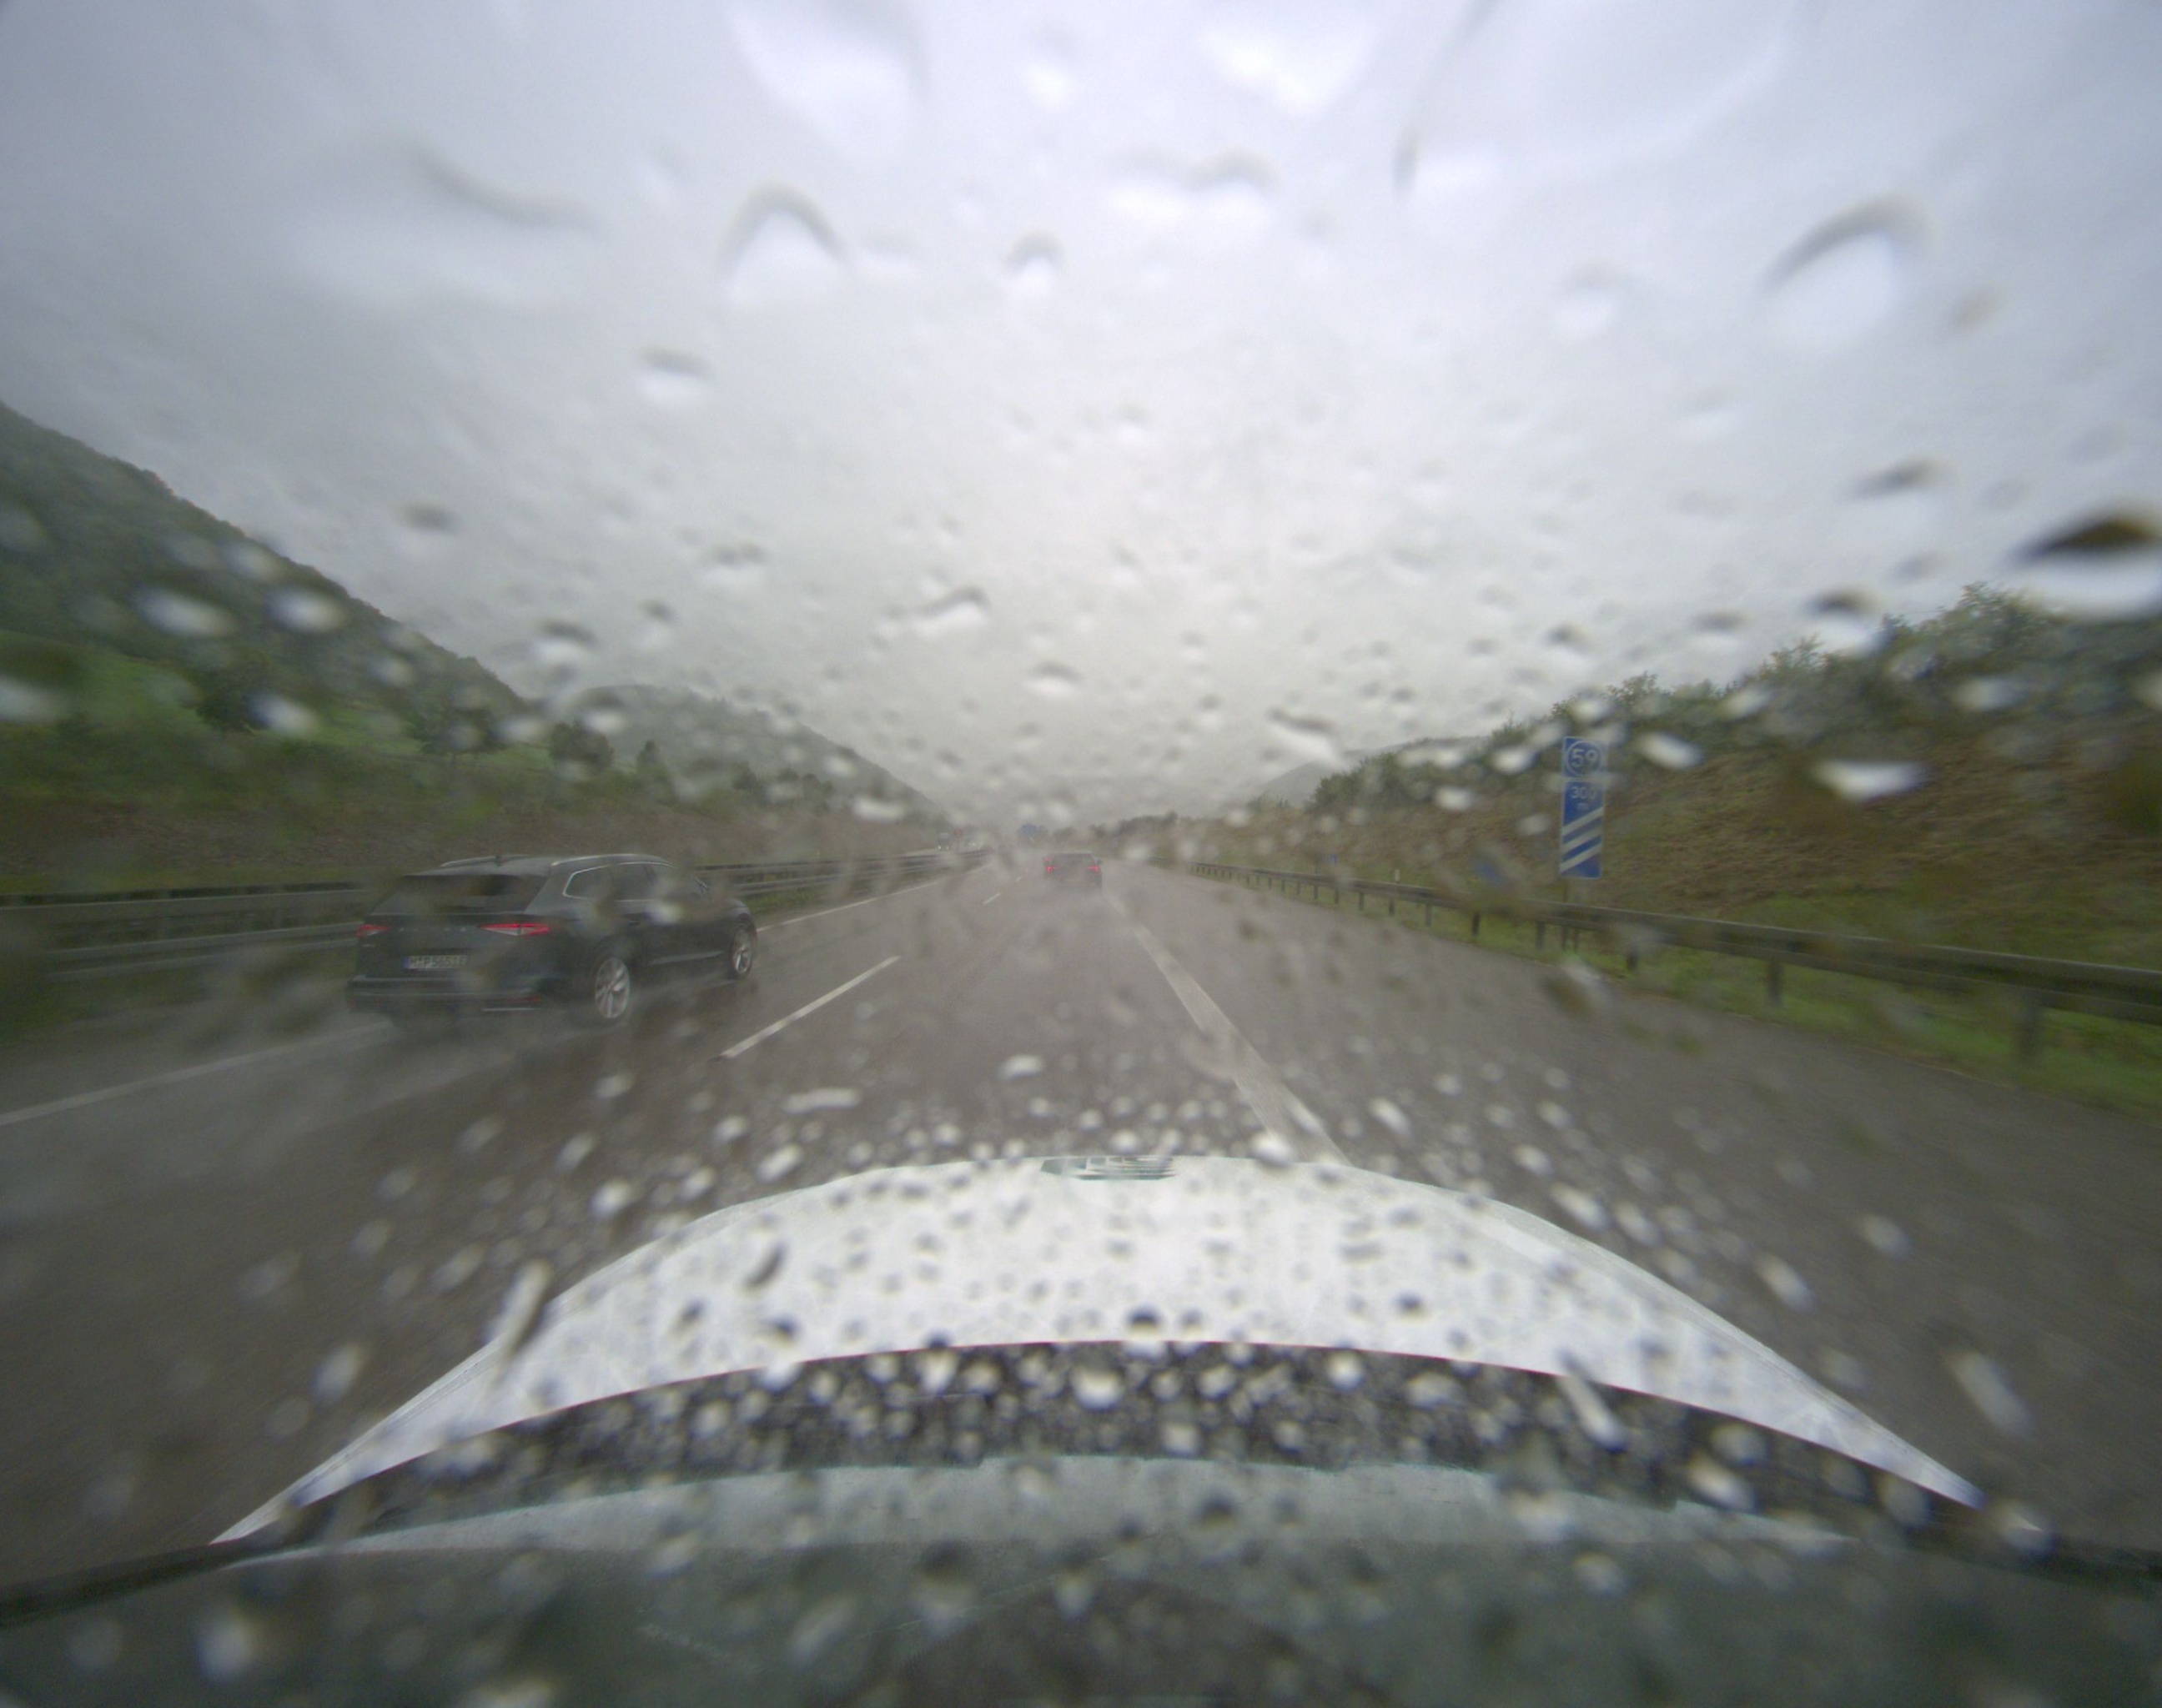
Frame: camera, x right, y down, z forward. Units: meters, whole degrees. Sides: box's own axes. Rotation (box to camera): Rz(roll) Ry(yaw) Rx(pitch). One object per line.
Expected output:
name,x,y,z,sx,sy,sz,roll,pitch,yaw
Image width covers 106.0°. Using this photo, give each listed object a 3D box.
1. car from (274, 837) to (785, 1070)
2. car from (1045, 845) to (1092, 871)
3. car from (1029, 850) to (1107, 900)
car,-5.028,0.694,8.577,1.987,1.683,4.908,-2,1,-1
car,-0.860,0.252,50.997,2.660,1.515,5.711,1,-1,-3
car,-0.353,0.676,27.436,2.398,1.515,4.784,1,-1,1
